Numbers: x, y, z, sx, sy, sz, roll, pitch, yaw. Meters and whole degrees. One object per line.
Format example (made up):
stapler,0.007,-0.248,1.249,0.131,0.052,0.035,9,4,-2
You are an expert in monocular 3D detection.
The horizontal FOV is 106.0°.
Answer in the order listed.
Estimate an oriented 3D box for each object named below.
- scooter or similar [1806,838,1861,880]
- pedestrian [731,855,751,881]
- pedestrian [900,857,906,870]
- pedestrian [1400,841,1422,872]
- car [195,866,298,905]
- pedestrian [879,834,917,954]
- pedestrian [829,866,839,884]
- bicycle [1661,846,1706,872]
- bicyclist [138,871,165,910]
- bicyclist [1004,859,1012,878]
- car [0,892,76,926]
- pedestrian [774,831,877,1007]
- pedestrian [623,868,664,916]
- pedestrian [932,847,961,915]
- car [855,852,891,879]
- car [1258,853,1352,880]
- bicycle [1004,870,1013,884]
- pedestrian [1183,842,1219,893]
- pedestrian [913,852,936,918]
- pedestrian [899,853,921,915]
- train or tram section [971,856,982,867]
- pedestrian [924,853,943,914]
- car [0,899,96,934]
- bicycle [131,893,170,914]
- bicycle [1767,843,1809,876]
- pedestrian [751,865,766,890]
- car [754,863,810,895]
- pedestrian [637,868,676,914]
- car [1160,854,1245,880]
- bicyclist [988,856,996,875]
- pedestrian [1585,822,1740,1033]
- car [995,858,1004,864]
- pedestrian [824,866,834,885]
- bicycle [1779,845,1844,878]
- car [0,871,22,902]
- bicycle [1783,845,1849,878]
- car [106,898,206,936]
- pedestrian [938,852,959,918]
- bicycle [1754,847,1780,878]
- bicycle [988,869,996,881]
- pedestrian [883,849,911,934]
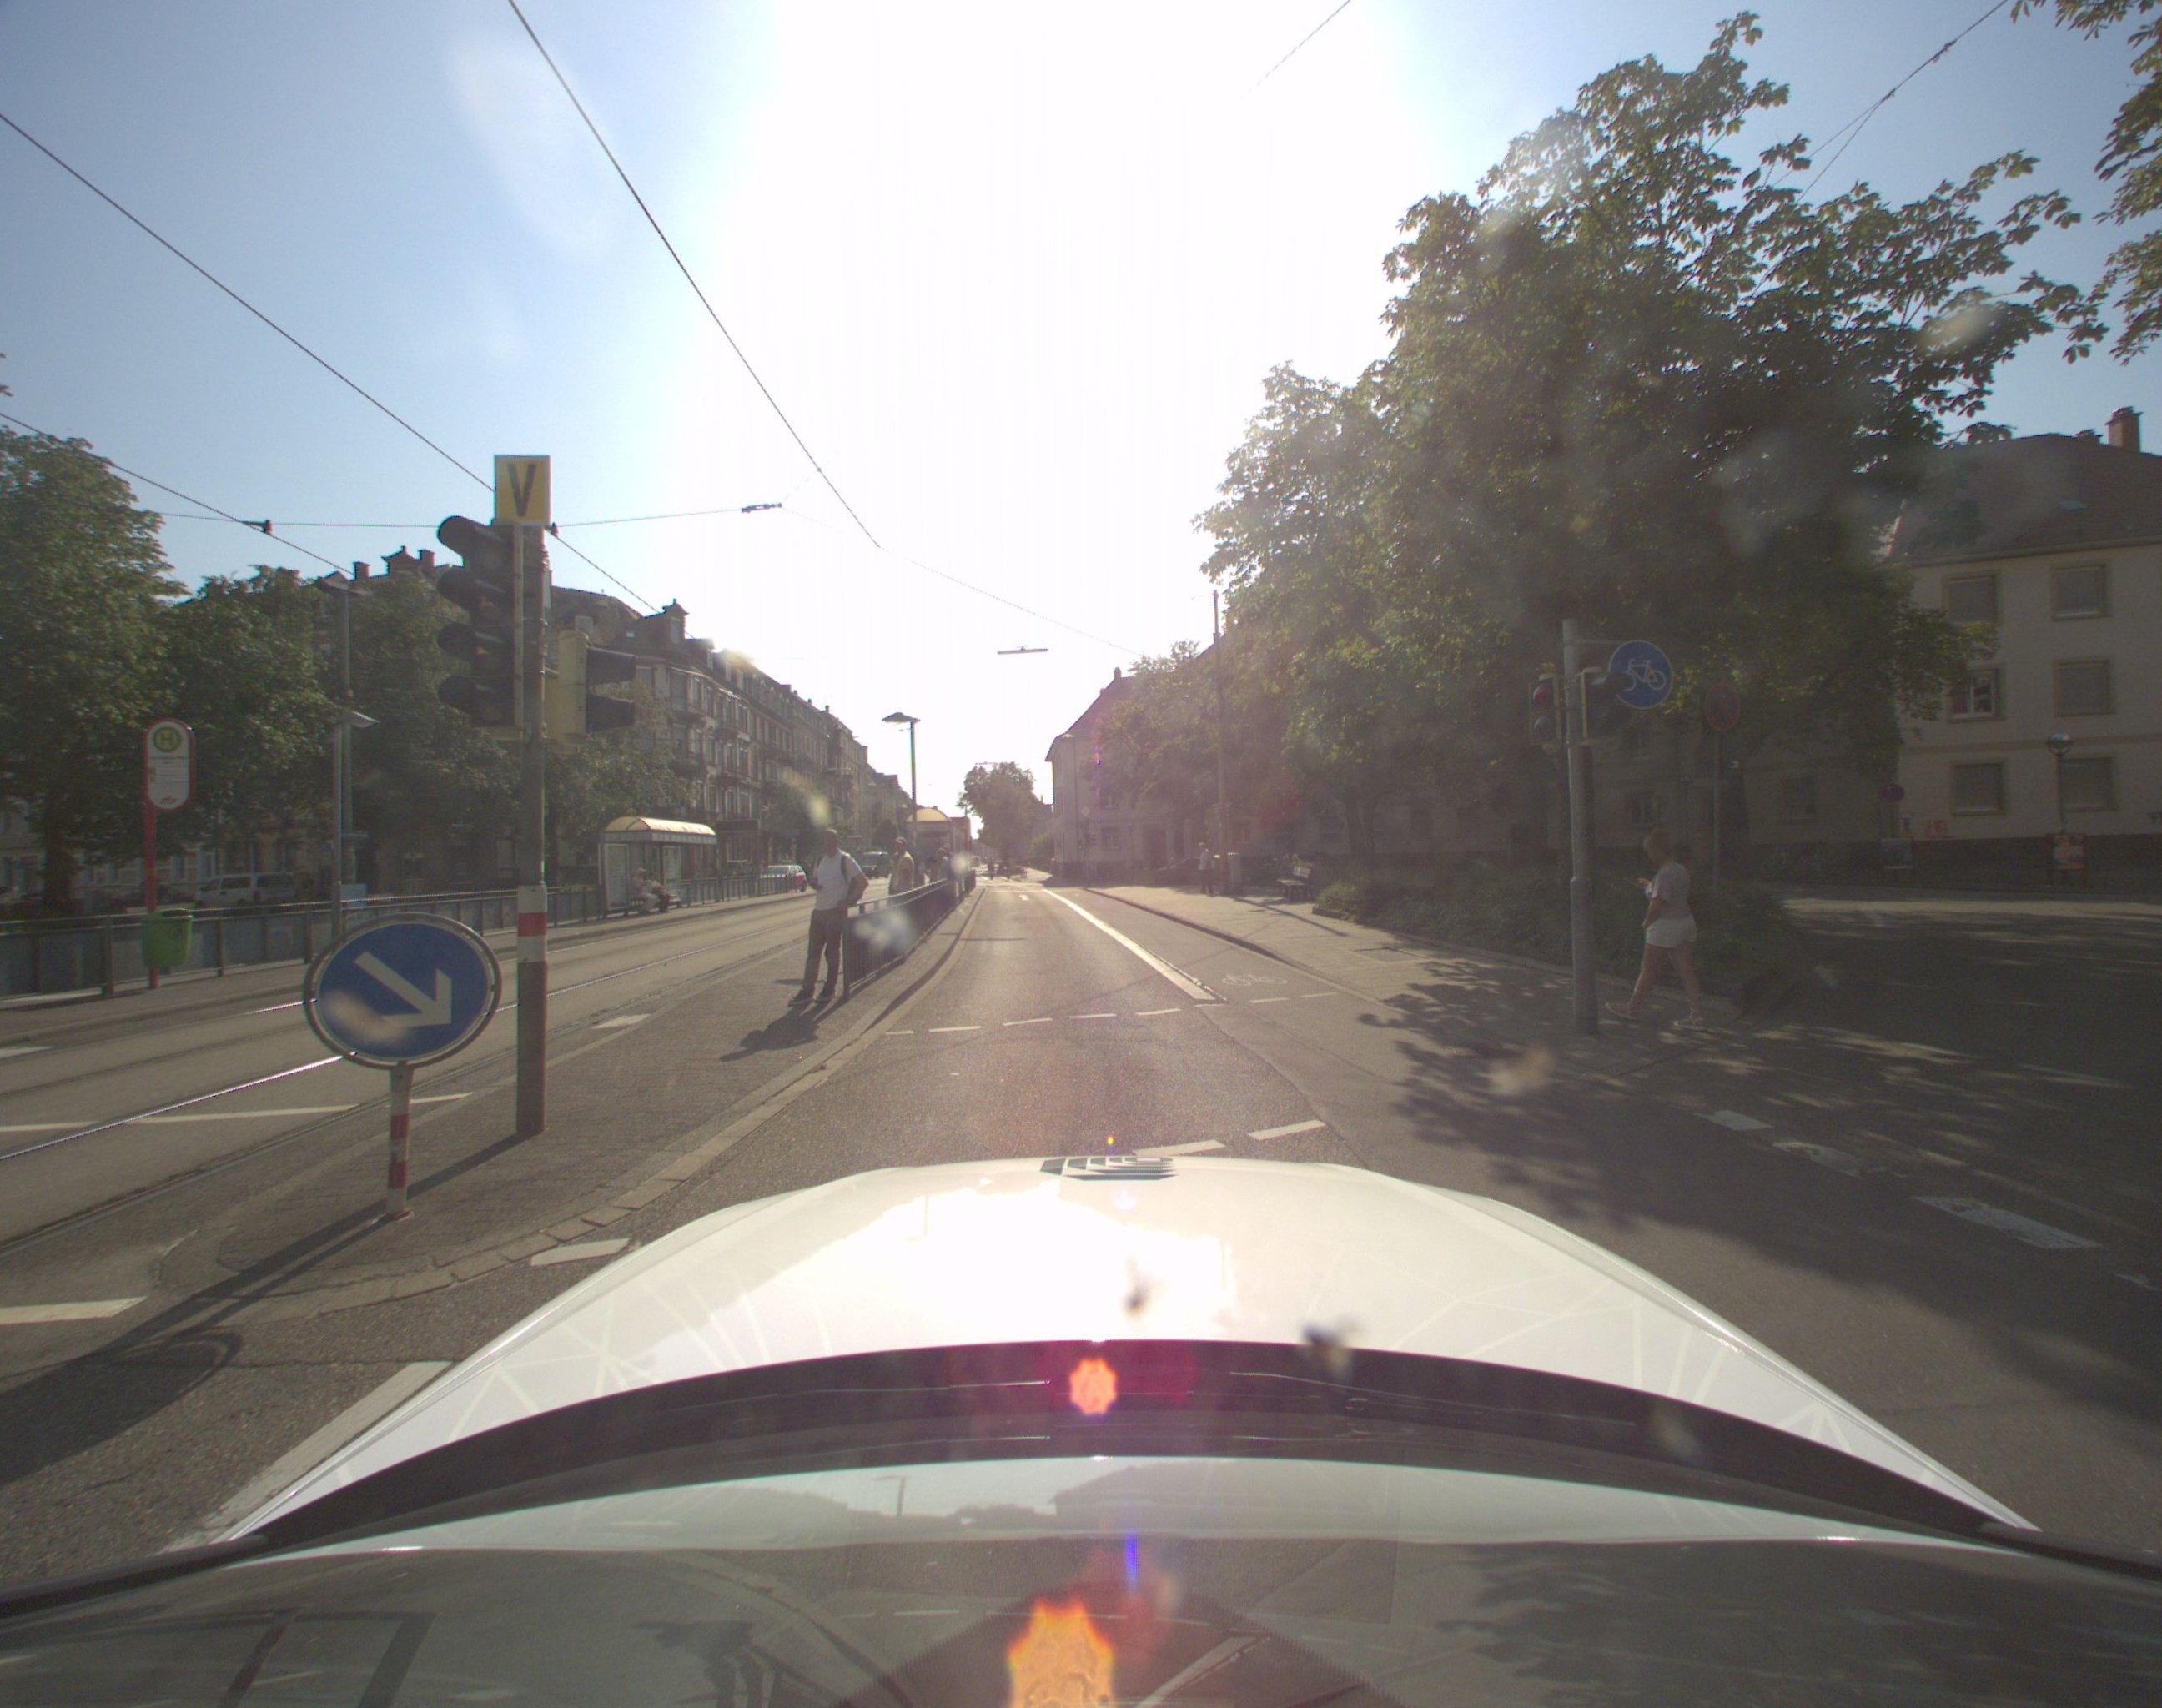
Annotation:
scooter or similar,23.177,0.153,25.098,1.059,1.197,0.462,-5,-1,27
pedestrian,-20.843,0.878,49.971,0.899,1.567,0.767,-1,-1,-42
pedestrian,-24.474,1.306,112.044,0.751,1.731,0.768,-2,-1,-14
pedestrian,18.985,0.121,46.860,0.779,1.740,0.884,-1,-1,-34
car,-42.642,1.606,41.626,3.956,1.828,2.009,-2,0,16
pedestrian,-2.858,0.613,12.752,0.503,1.834,0.533,1,2,-5
pedestrian,-23.776,1.987,78.382,0.751,1.731,0.768,-2,-1,-14
bicycle,23.668,0.207,32.029,0.424,0.978,1.551,-2,0,-8
bicyclist,-45.151,1.780,39.548,0.978,1.857,0.495,-2,-1,18
bicyclist,-5.713,1.148,63.852,0.557,1.417,0.869,-2,0,-7
car,-54.135,2.834,41.604,4.288,1.569,2.009,-2,0,16
pedestrian,-2.655,0.625,8.493,0.693,1.725,0.752,2,2,27
pedestrian,-12.985,1.122,24.174,0.828,1.359,0.773,-2,-1,-10
pedestrian,-3.554,0.705,21.609,0.708,1.759,0.533,1,2,-5
car,-21.163,1.156,82.972,2.341,2.662,5.102,-2,0,-1
car,11.680,0.668,42.603,4.281,1.320,2.012,-2,-1,42
bicycle,-5.682,1.787,63.835,0.557,0.978,1.852,-2,0,-7
pedestrian,4.192,0.479,28.409,0.882,1.740,0.781,-2,-1,41
pedestrian,-4.255,0.842,22.163,0.542,1.759,0.533,1,2,-5
pedestrian,-4.934,0.864,23.520,0.531,1.759,0.544,1,2,-4
train or tram section,-31.868,2.262,249.165,2.206,3.166,6.151,-2,0,2
pedestrian,-4.375,0.866,24.155,0.503,1.759,0.533,1,2,-5
car,-58.744,3.547,46.333,3.956,1.828,2.009,-2,0,16
bicycle,-45.191,2.402,39.552,1.920,0.978,0.499,-2,-1,18
bicycle,23.774,0.176,27.369,1.558,1.038,0.422,-2,0,-24
pedestrian,-23.206,1.678,58.639,0.776,1.731,0.743,-1,-1,-44
car,-16.771,1.368,45.844,1.796,1.653,3.640,-2,0,-1
pedestrian,-13.093,1.133,25.143,0.828,1.359,0.773,-2,-1,-10
car,6.843,0.766,46.101,4.280,1.320,2.013,-2,0,34
bicyclist,-7.329,0.959,66.909,0.628,1.507,0.677,-2,0,-7
pedestrian,5.124,0.607,7.218,0.751,1.731,0.768,-2,-1,-14
car,-23.931,2.035,238.989,1.986,1.783,4.001,-1,-1,2
pedestrian,-23.282,1.952,75.203,0.751,1.731,0.768,-2,-1,-14
bicycle,23.246,0.234,25.935,1.541,0.978,0.427,-2,0,9
car,-65.455,1.996,47.928,3.965,1.828,2.004,-2,0,7
bicycle,23.108,0.250,25.619,1.541,0.978,0.427,-2,0,9
car,-49.692,3.391,43.780,3.956,1.828,2.009,-2,0,16
pedestrian,-3.616,0.838,22.221,0.503,1.759,0.533,1,2,-5
bicycle,22.862,0.269,27.165,0.420,0.978,1.566,-2,0,33
bicycle,-7.308,1.732,66.904,0.628,0.978,1.766,-2,0,-7
pedestrian,-3.911,0.794,17.365,0.503,1.759,0.533,1,2,-5
